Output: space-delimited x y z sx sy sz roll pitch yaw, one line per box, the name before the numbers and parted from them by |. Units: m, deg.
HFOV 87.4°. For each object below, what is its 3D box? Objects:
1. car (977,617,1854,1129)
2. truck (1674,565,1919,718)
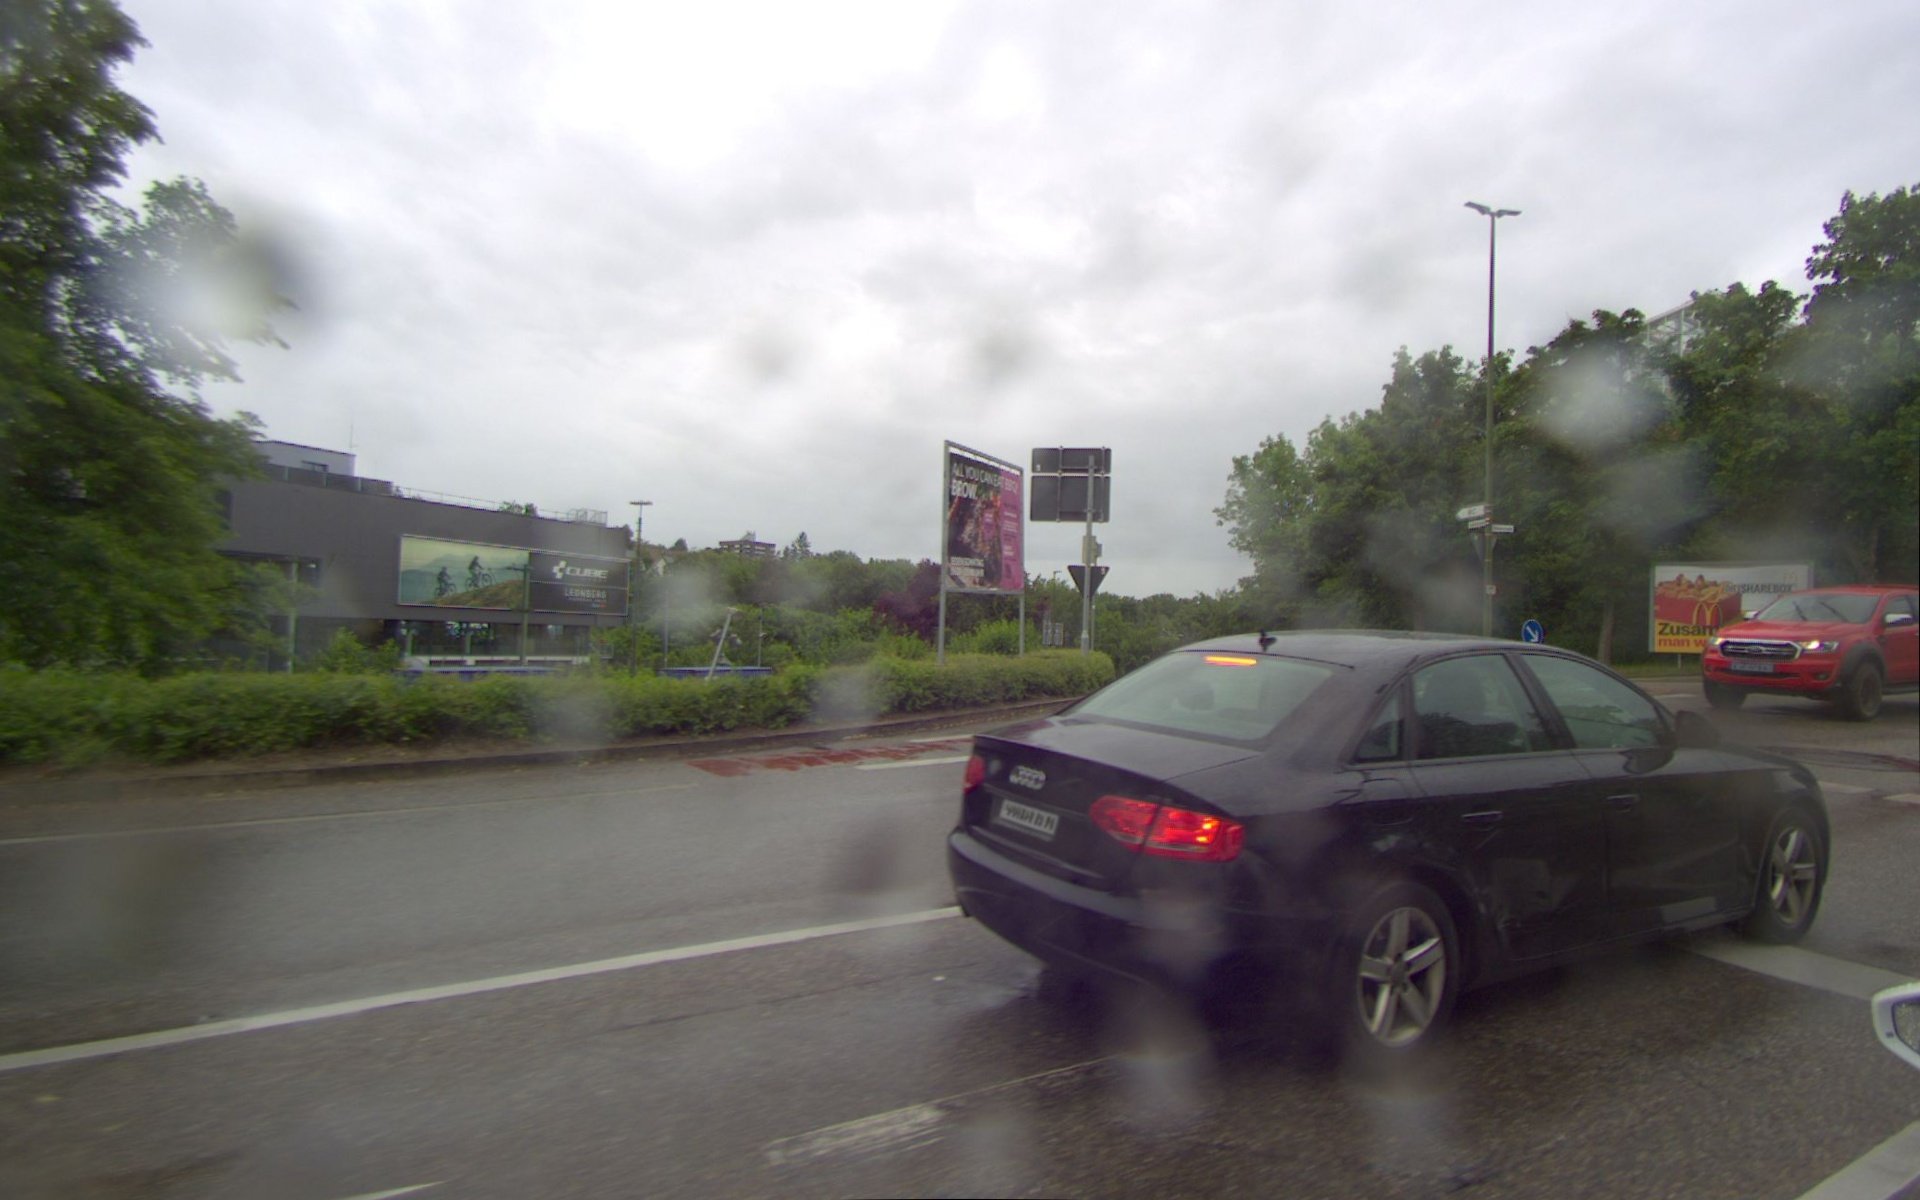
car | 2.217 0.840 4.623 3.954 1.414 1.746 2 -1 -31
truck | 13.614 0.588 15.434 5.265 2.040 1.988 1 0 -25
